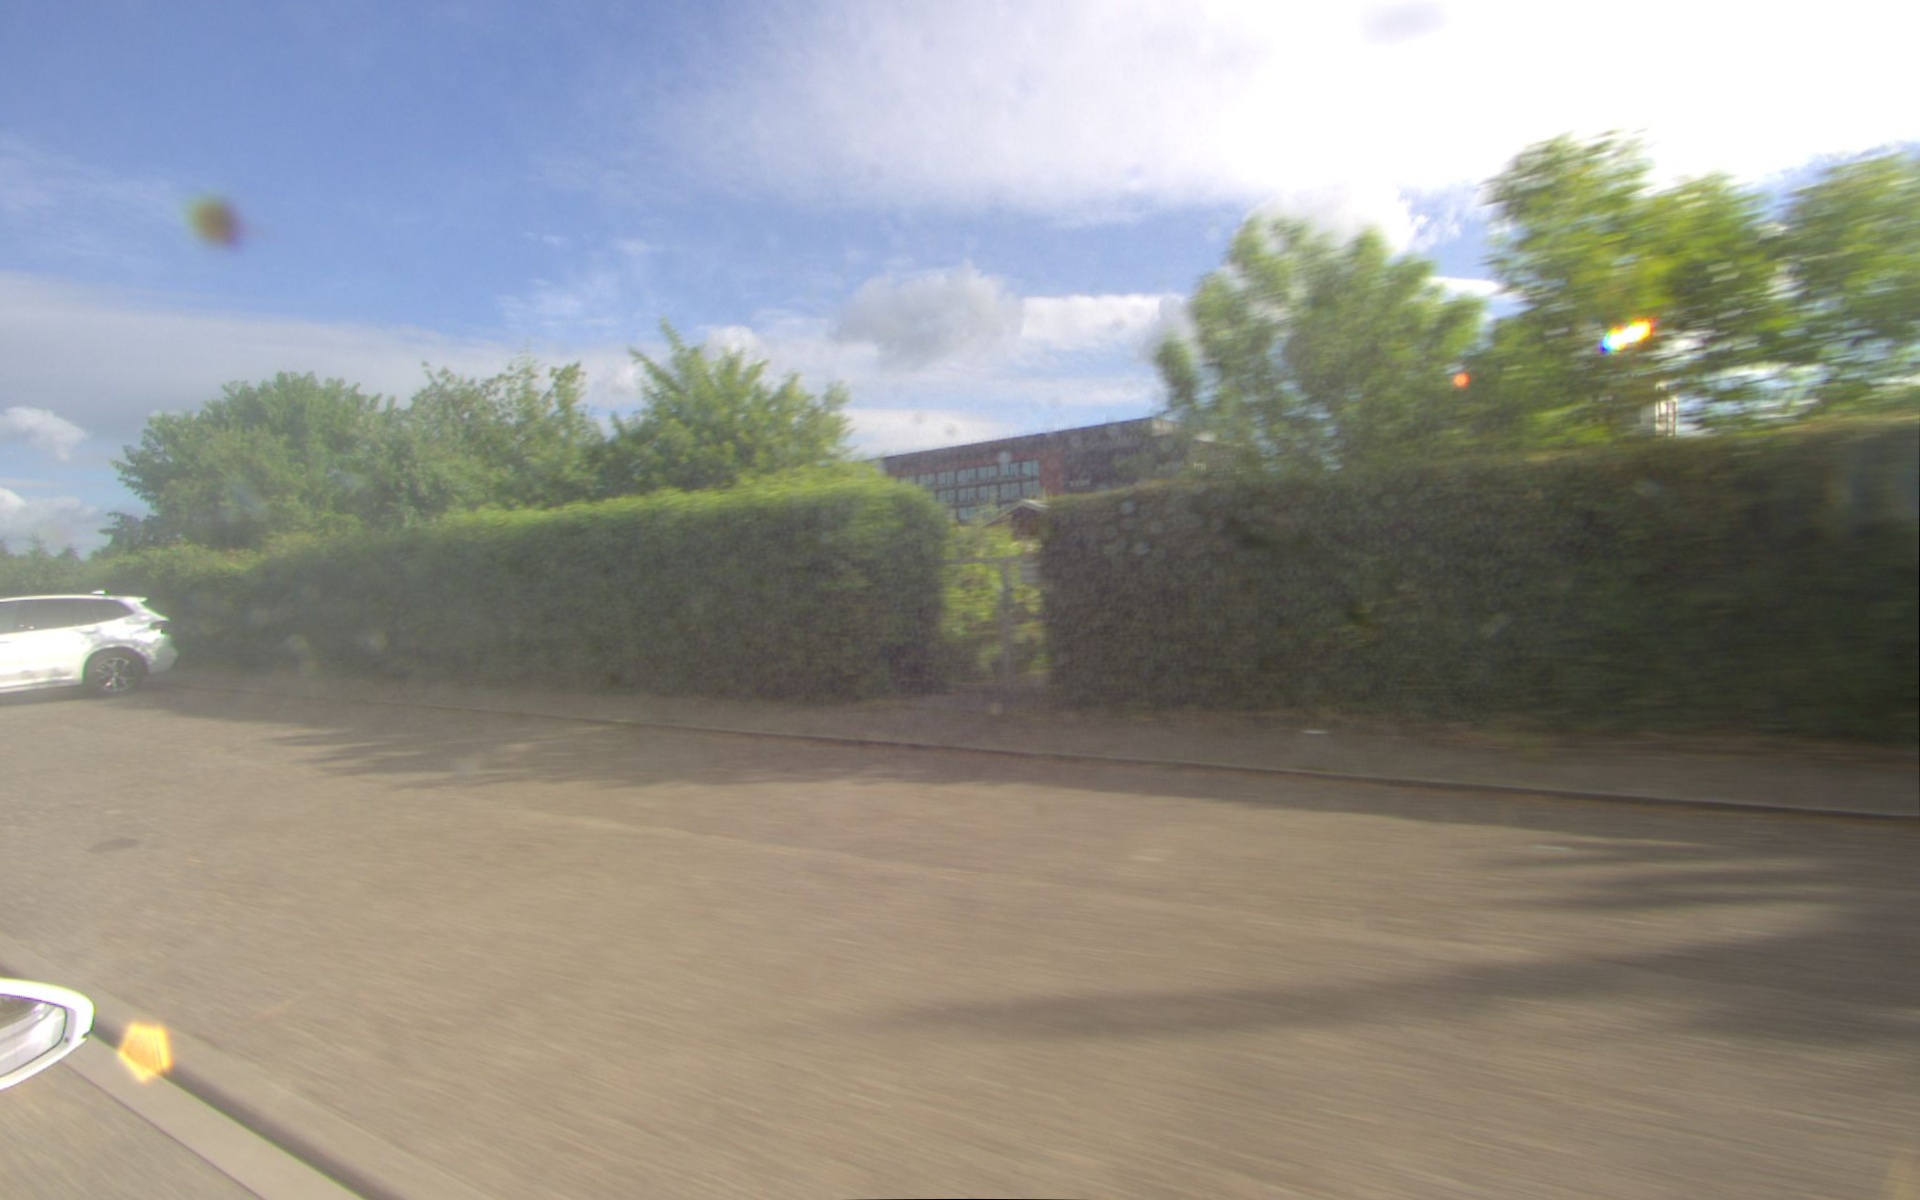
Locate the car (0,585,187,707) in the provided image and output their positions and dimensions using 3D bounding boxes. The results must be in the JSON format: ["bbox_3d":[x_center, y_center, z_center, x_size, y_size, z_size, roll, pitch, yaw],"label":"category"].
[{"bbox_3d":[-15.100,0.756,15.509,1.740,1.723,4.569,0,3,36],"label":"car"}]

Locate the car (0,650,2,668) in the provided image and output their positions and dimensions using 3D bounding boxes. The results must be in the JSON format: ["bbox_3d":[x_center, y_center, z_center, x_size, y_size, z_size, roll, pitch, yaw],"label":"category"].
[{"bbox_3d":[-23.841,0.971,21.880,1.669,1.512,3.842,1,6,34],"label":"car"}]
